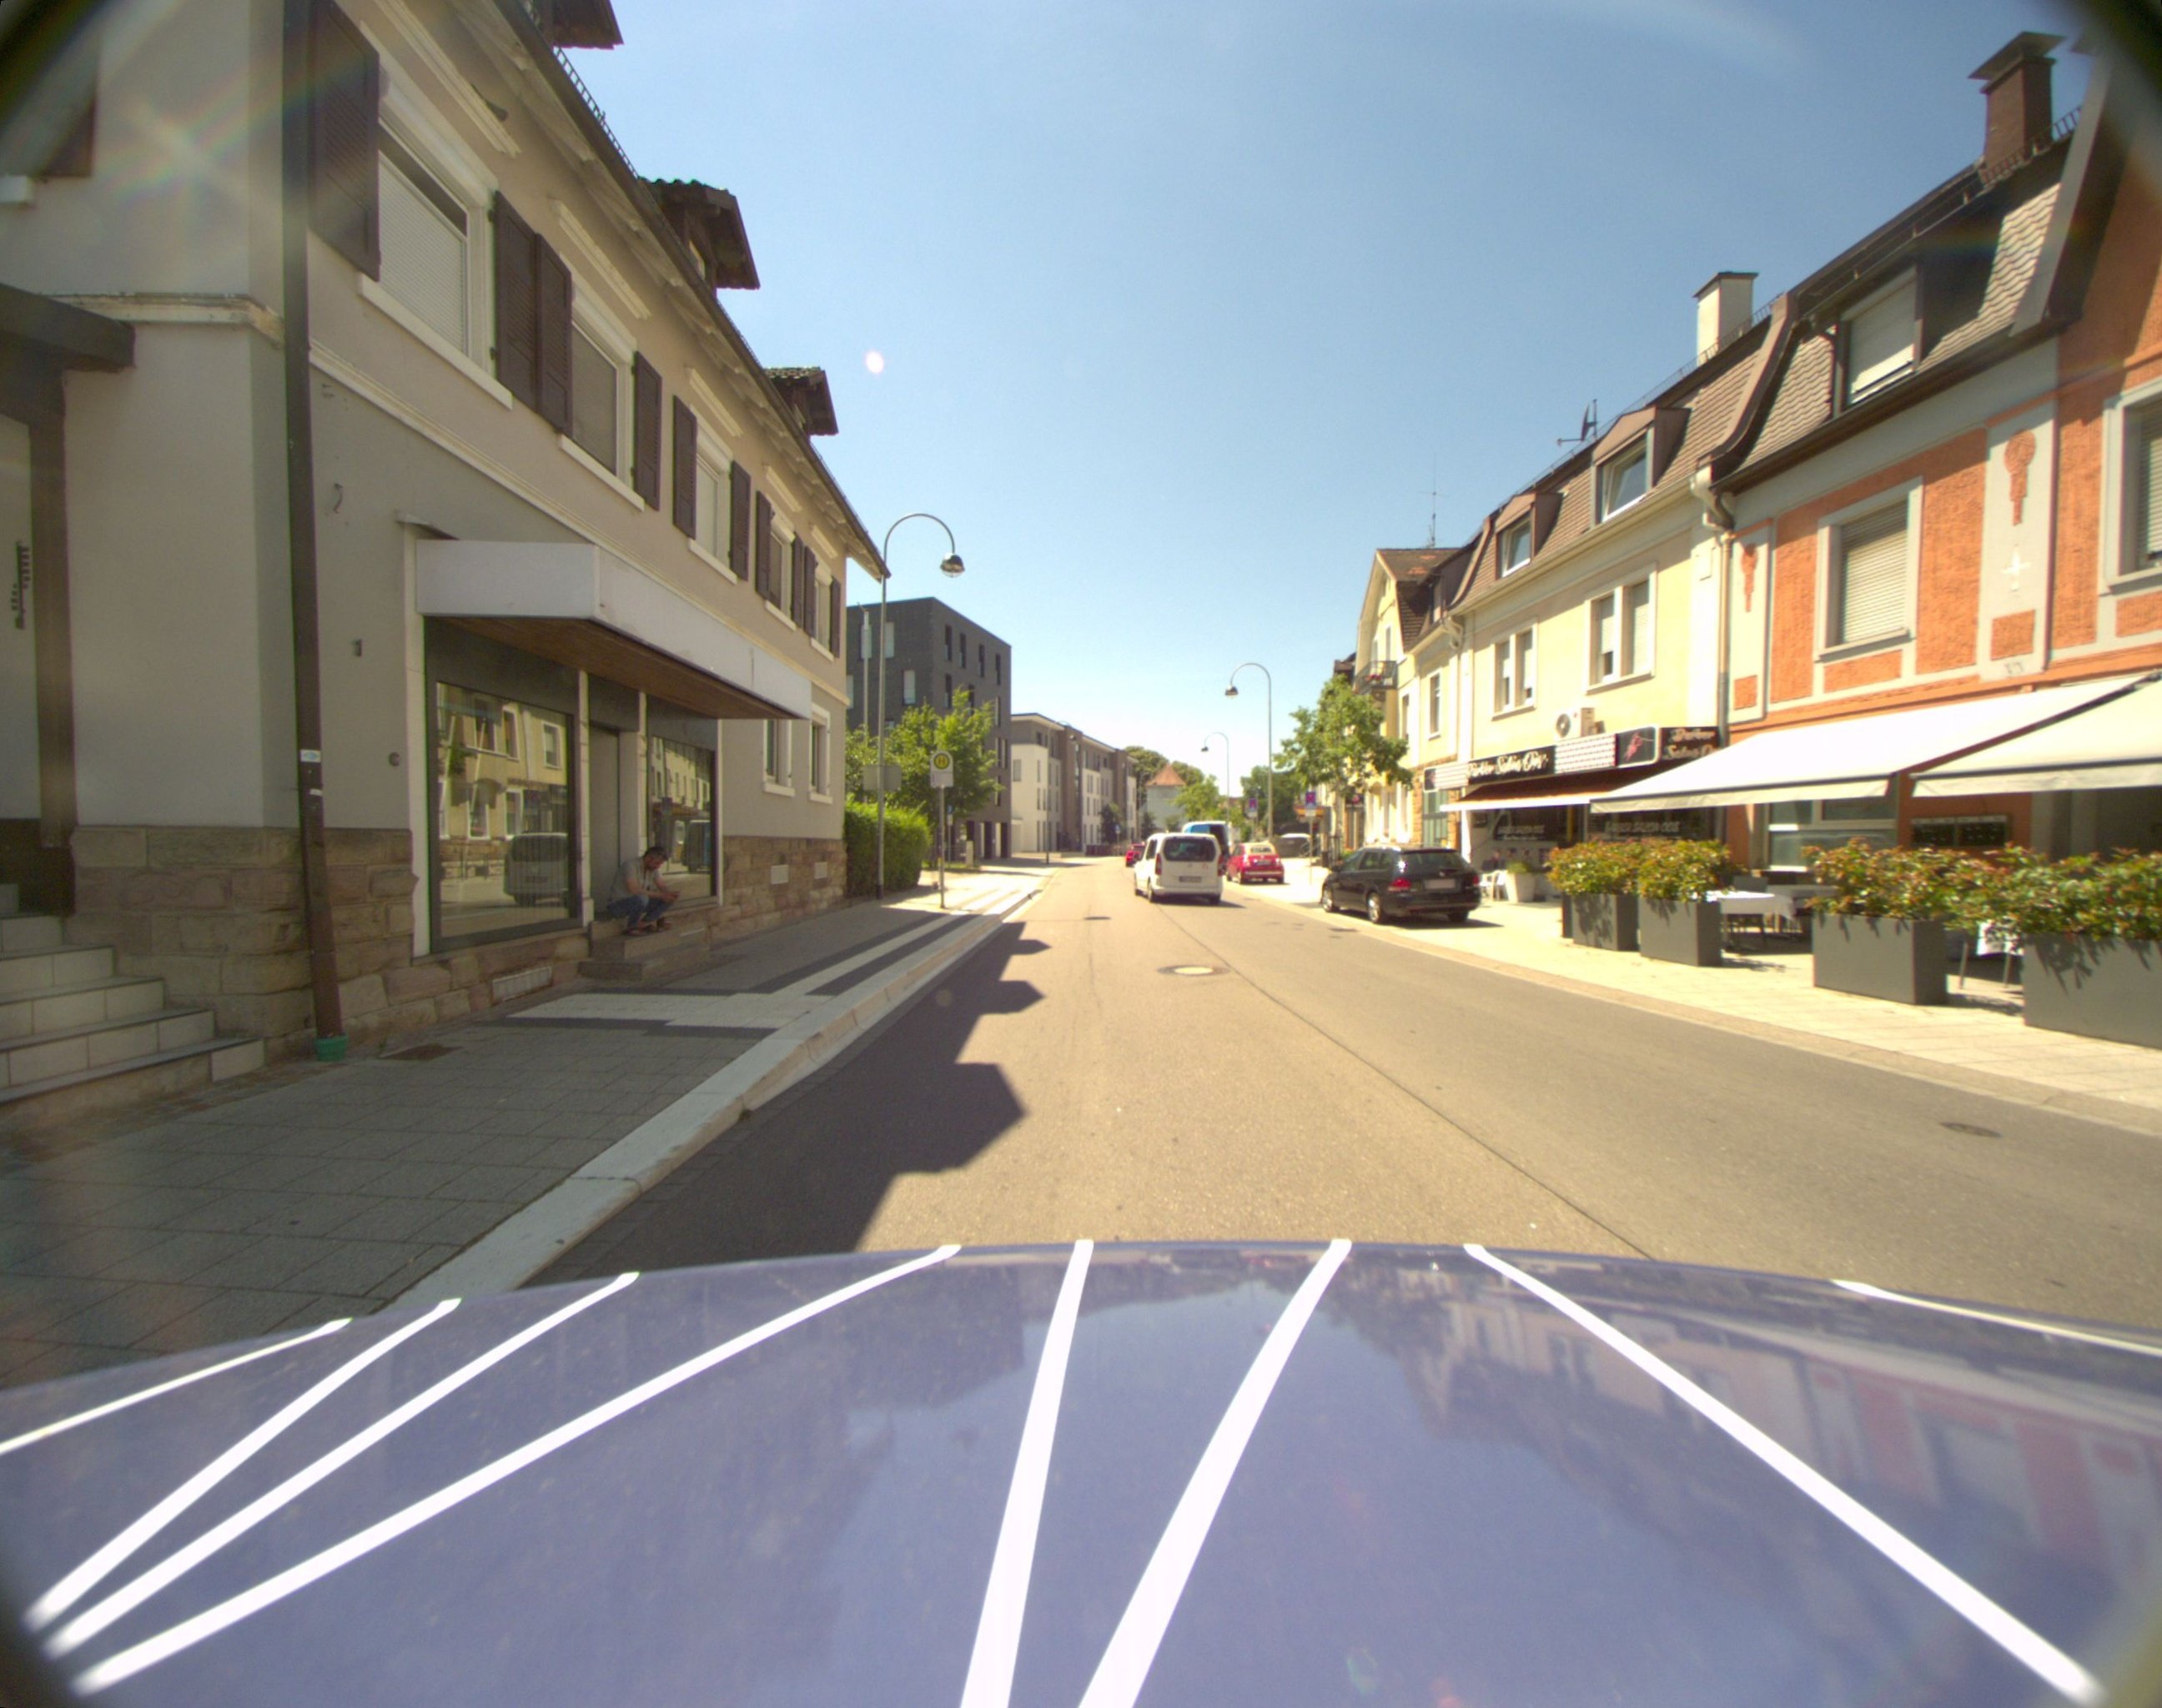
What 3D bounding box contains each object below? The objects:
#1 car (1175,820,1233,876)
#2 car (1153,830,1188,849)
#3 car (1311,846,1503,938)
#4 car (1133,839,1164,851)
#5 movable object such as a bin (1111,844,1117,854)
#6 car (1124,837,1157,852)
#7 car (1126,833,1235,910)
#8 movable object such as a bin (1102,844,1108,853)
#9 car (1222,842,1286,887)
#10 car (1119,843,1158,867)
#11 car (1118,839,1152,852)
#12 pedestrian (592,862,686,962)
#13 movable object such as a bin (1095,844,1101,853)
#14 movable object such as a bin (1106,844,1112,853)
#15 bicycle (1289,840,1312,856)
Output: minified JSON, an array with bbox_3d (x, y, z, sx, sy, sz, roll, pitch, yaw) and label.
[{"bbox_3d":[5.934,-0.337,37.191,2.097,2.484,5.503,-2,1,2],"label":"car"},{"bbox_3d":[13.515,-2.213,114.708,4.860,2.721,1.853,1,2,17],"label":"car"},{"bbox_3d":[6.308,0.630,15.309,1.920,1.473,4.336,-2,1,-1],"label":"car"},{"bbox_3d":[8.984,-1.151,100.827,3.812,1.454,1.654,2,2,16],"label":"car"},{"bbox_3d":[3.440,-0.508,78.376,0.473,0.925,0.529,2,2,17],"label":"movable object such as a bin"},{"bbox_3d":[7.486,-1.241,95.059,3.813,1.776,1.842,1,2,15],"label":"car"},{"bbox_3d":[2.536,0.387,20.476,1.999,1.811,4.412,1,1,-5],"label":"car"},{"bbox_3d":[2.444,-0.537,78.680,0.473,0.925,0.529,2,2,17],"label":"movable object such as a bin"},{"bbox_3d":[6.424,0.339,28.537,1.564,1.512,3.514,-1,2,-1],"label":"car"},{"bbox_3d":[3.603,0.028,48.179,1.921,1.418,3.978,1,1,-4],"label":"car"},{"bbox_3d":[6.579,-1.032,92.915,3.813,1.474,1.780,1,2,15],"label":"car"},{"bbox_3d":[-4.703,0.597,8.126,0.591,0.994,0.723,1,1,-1],"label":"pedestrian"},{"bbox_3d":[1.731,-0.555,78.847,0.473,0.925,0.529,2,2,17],"label":"movable object such as a bin"},{"bbox_3d":[2.937,-0.531,78.526,0.473,0.925,0.529,2,2,17],"label":"movable object such as a bin"},{"bbox_3d":[17.982,-0.492,62.189,1.767,1.227,0.617,-3,0,16],"label":"bicycle"}]
